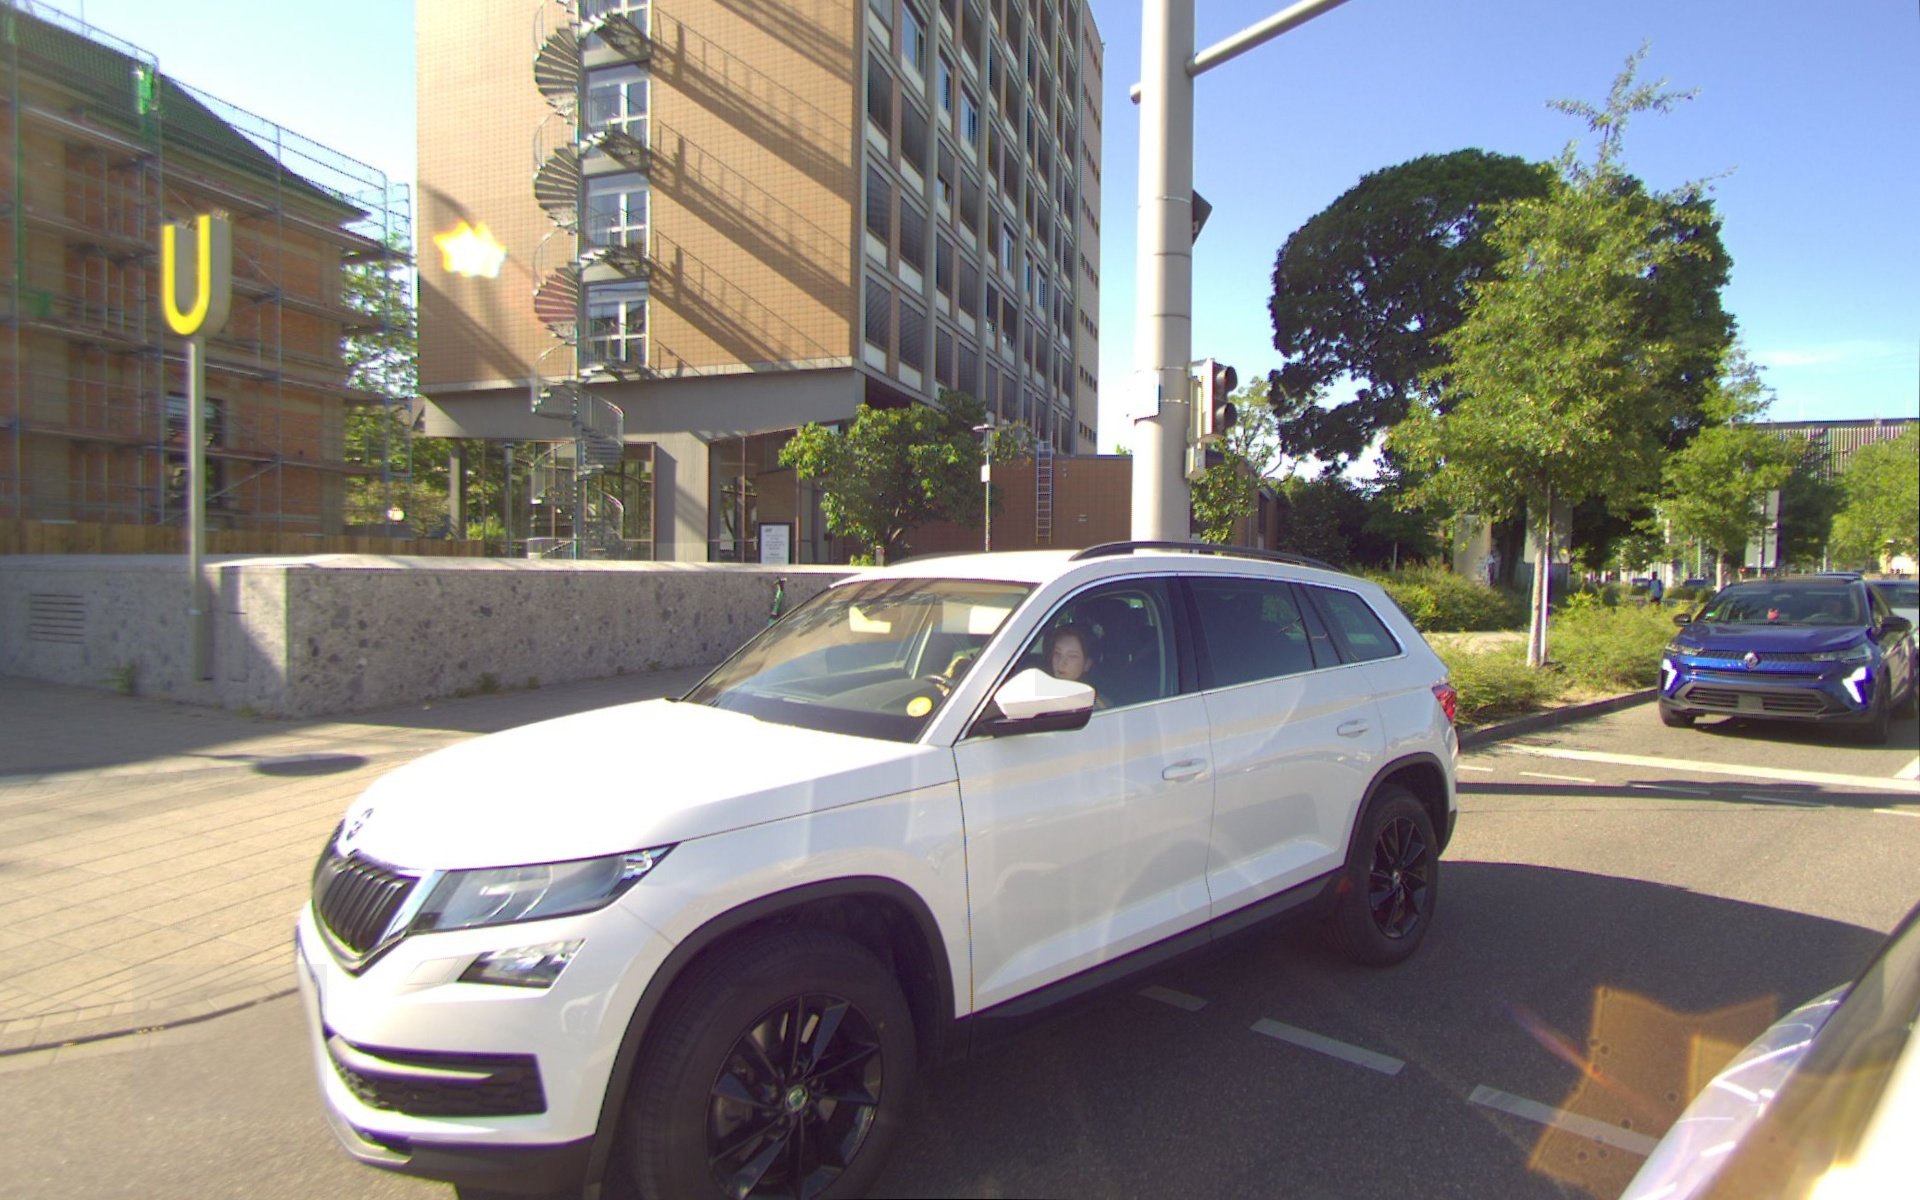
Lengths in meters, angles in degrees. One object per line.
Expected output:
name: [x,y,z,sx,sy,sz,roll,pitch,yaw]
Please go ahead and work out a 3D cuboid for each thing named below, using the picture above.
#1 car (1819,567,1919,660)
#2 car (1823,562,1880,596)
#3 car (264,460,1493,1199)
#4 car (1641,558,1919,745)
car: [18.376,0.207,19.740,3.943,1.650,1.884,-1,0,-41]
car: [41.646,-0.988,47.309,1.914,1.476,4.599,-1,1,41]
car: [0.100,0.569,3.795,4.319,1.666,1.867,-1,0,-40]
car: [9.070,0.420,10.928,3.943,1.650,1.884,-1,0,-41]
